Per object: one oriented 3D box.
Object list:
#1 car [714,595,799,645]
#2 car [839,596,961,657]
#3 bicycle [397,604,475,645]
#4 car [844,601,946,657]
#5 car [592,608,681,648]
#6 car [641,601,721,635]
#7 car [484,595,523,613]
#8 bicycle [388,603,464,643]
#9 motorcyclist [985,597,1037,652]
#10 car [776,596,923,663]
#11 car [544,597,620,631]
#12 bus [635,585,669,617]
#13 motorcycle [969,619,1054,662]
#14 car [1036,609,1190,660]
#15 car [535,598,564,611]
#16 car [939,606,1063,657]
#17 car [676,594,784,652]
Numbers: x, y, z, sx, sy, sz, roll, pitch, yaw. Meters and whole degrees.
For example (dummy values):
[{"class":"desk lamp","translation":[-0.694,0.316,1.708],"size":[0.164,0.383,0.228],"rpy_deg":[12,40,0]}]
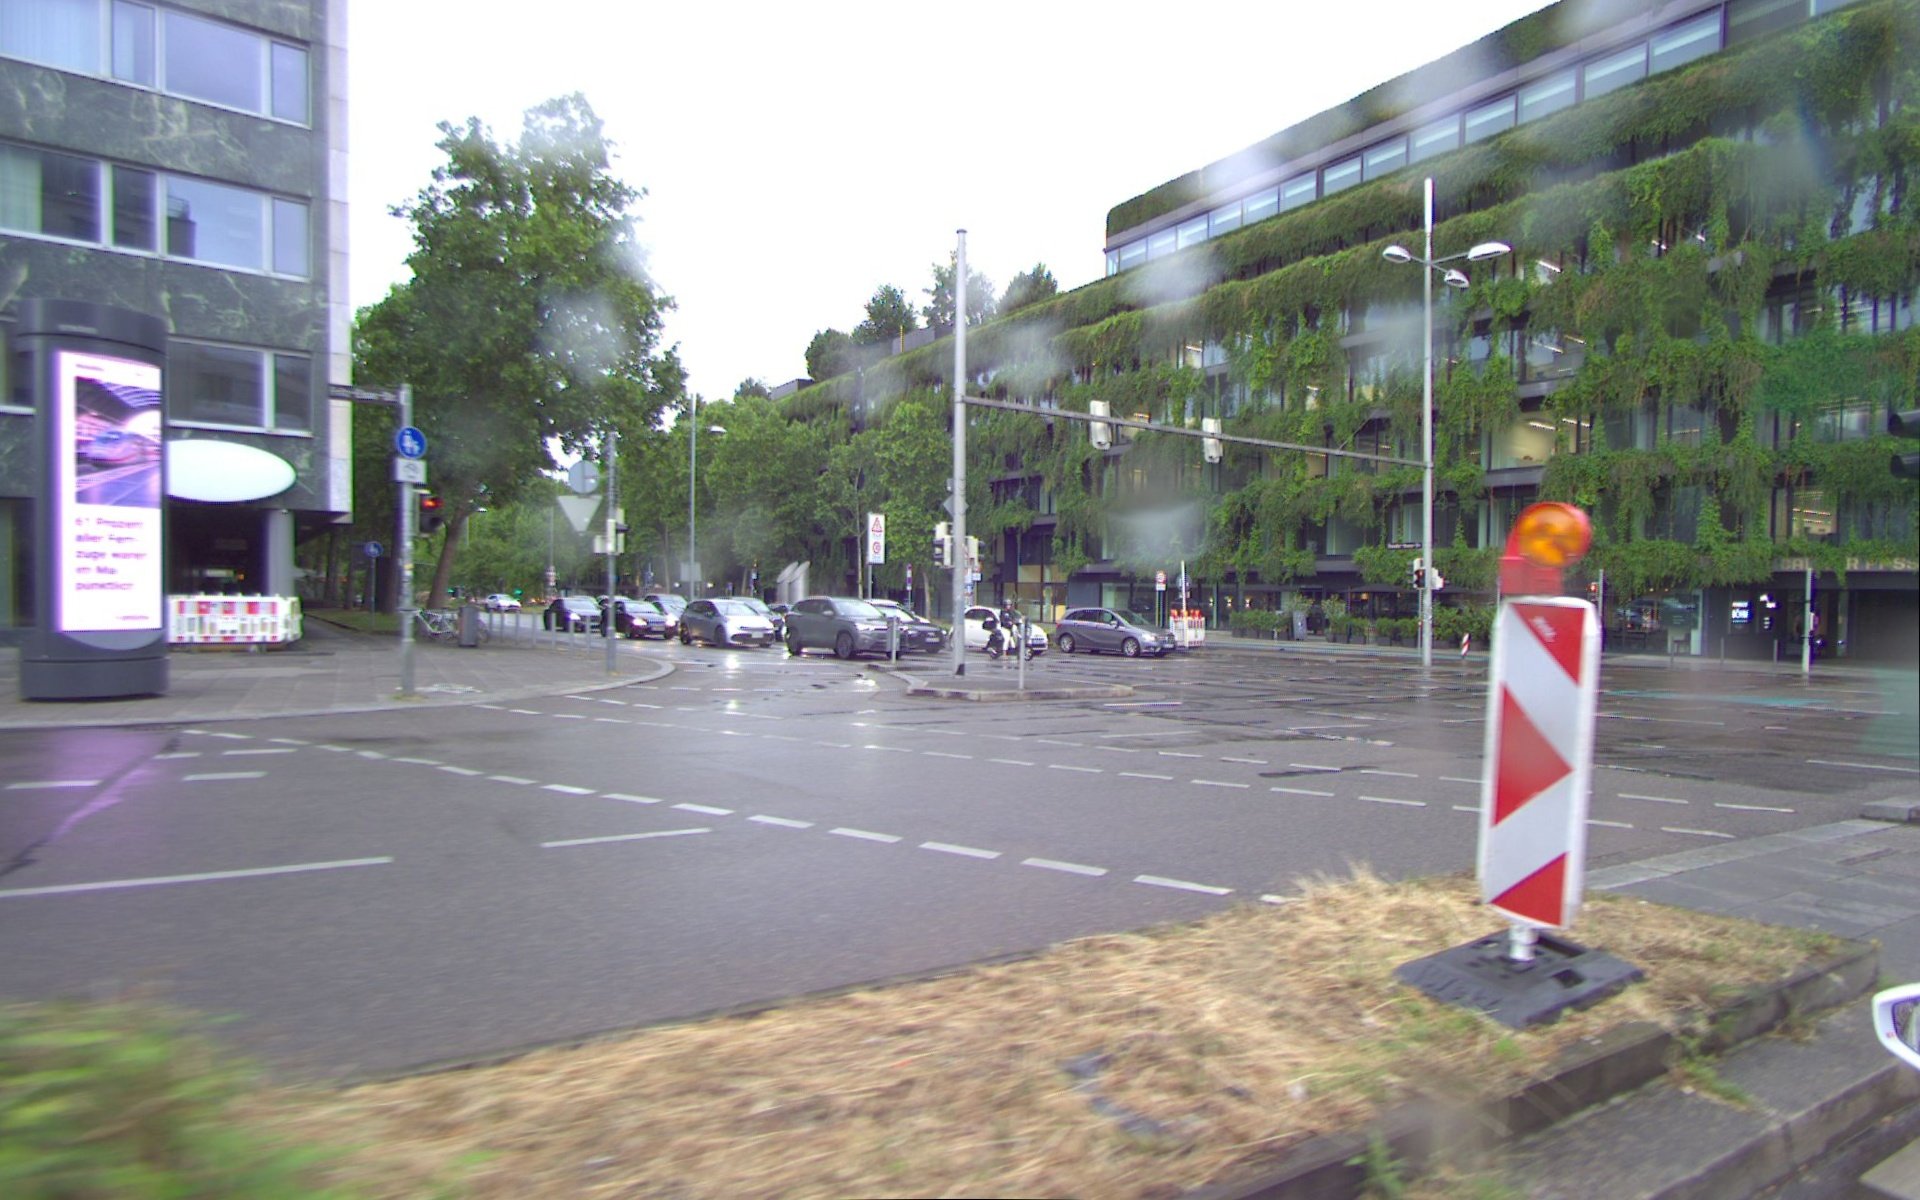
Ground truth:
[{"class":"car","translation":[-7.890,0.734,38.710],"size":[1.841,1.791,4.139],"rpy_deg":[2,-1,-32]},{"class":"car","translation":[-1.951,0.801,31.522],"size":[1.981,1.773,3.958],"rpy_deg":[2,-1,-37]},{"class":"bicycle","translation":[-13.905,0.653,26.679],"size":[1.765,1.066,0.581],"rpy_deg":[2,0,-35]},{"class":"car","translation":[-2.456,1.029,36.902],"size":[1.978,1.923,4.139],"rpy_deg":[2,-1,-32]},{"class":"car","translation":[-12.502,1.046,38.667],"size":[1.982,1.389,4.131],"rpy_deg":[2,-1,-37]},{"class":"car","translation":[-12.270,0.769,44.066],"size":[1.982,1.389,4.131],"rpy_deg":[2,-1,-37]},{"class":"car","translation":[-41.679,0.360,91.567],"size":[1.919,1.508,4.849],"rpy_deg":[2,-1,-41]},{"class":"bicycle","translation":[-14.582,0.636,27.457],"size":[1.765,1.066,0.581],"rpy_deg":[2,0,-35]},{"class":"motorcyclist","translation":[1.428,0.681,28.112],"size":[1.153,1.492,0.832],"rpy_deg":[2,0,40]},{"class":"car","translation":[-3.162,0.768,28.138],"size":[1.984,1.709,4.314],"rpy_deg":[2,-1,-41]},{"class":"car","translation":[-16.629,0.602,44.083],"size":[1.982,1.389,4.131],"rpy_deg":[2,-1,-37]},{"class":"bus","translation":[-33.561,0.062,109.298],"size":[1.783,3.385,5.922],"rpy_deg":[2,0,-34]},{"class":"motorcycle","translation":[1.415,1.113,28.112],"size":[2.331,1.068,0.831],"rpy_deg":[2,0,41]},{"class":"car","translation":[5.014,1.090,33.440],"size":[4.842,1.508,1.922],"rpy_deg":[1,-1,45]},{"class":"car","translation":[-51.689,0.518,126.414],"size":[1.919,1.508,4.849],"rpy_deg":[2,-1,-41]},{"class":"car","translation":[1.268,0.979,32.498],"size":[1.981,1.494,3.958],"rpy_deg":[2,-1,-37]},{"class":"car","translation":[-7.620,0.717,33.075],"size":[1.982,1.773,3.956],"rpy_deg":[2,-1,-38]}]
